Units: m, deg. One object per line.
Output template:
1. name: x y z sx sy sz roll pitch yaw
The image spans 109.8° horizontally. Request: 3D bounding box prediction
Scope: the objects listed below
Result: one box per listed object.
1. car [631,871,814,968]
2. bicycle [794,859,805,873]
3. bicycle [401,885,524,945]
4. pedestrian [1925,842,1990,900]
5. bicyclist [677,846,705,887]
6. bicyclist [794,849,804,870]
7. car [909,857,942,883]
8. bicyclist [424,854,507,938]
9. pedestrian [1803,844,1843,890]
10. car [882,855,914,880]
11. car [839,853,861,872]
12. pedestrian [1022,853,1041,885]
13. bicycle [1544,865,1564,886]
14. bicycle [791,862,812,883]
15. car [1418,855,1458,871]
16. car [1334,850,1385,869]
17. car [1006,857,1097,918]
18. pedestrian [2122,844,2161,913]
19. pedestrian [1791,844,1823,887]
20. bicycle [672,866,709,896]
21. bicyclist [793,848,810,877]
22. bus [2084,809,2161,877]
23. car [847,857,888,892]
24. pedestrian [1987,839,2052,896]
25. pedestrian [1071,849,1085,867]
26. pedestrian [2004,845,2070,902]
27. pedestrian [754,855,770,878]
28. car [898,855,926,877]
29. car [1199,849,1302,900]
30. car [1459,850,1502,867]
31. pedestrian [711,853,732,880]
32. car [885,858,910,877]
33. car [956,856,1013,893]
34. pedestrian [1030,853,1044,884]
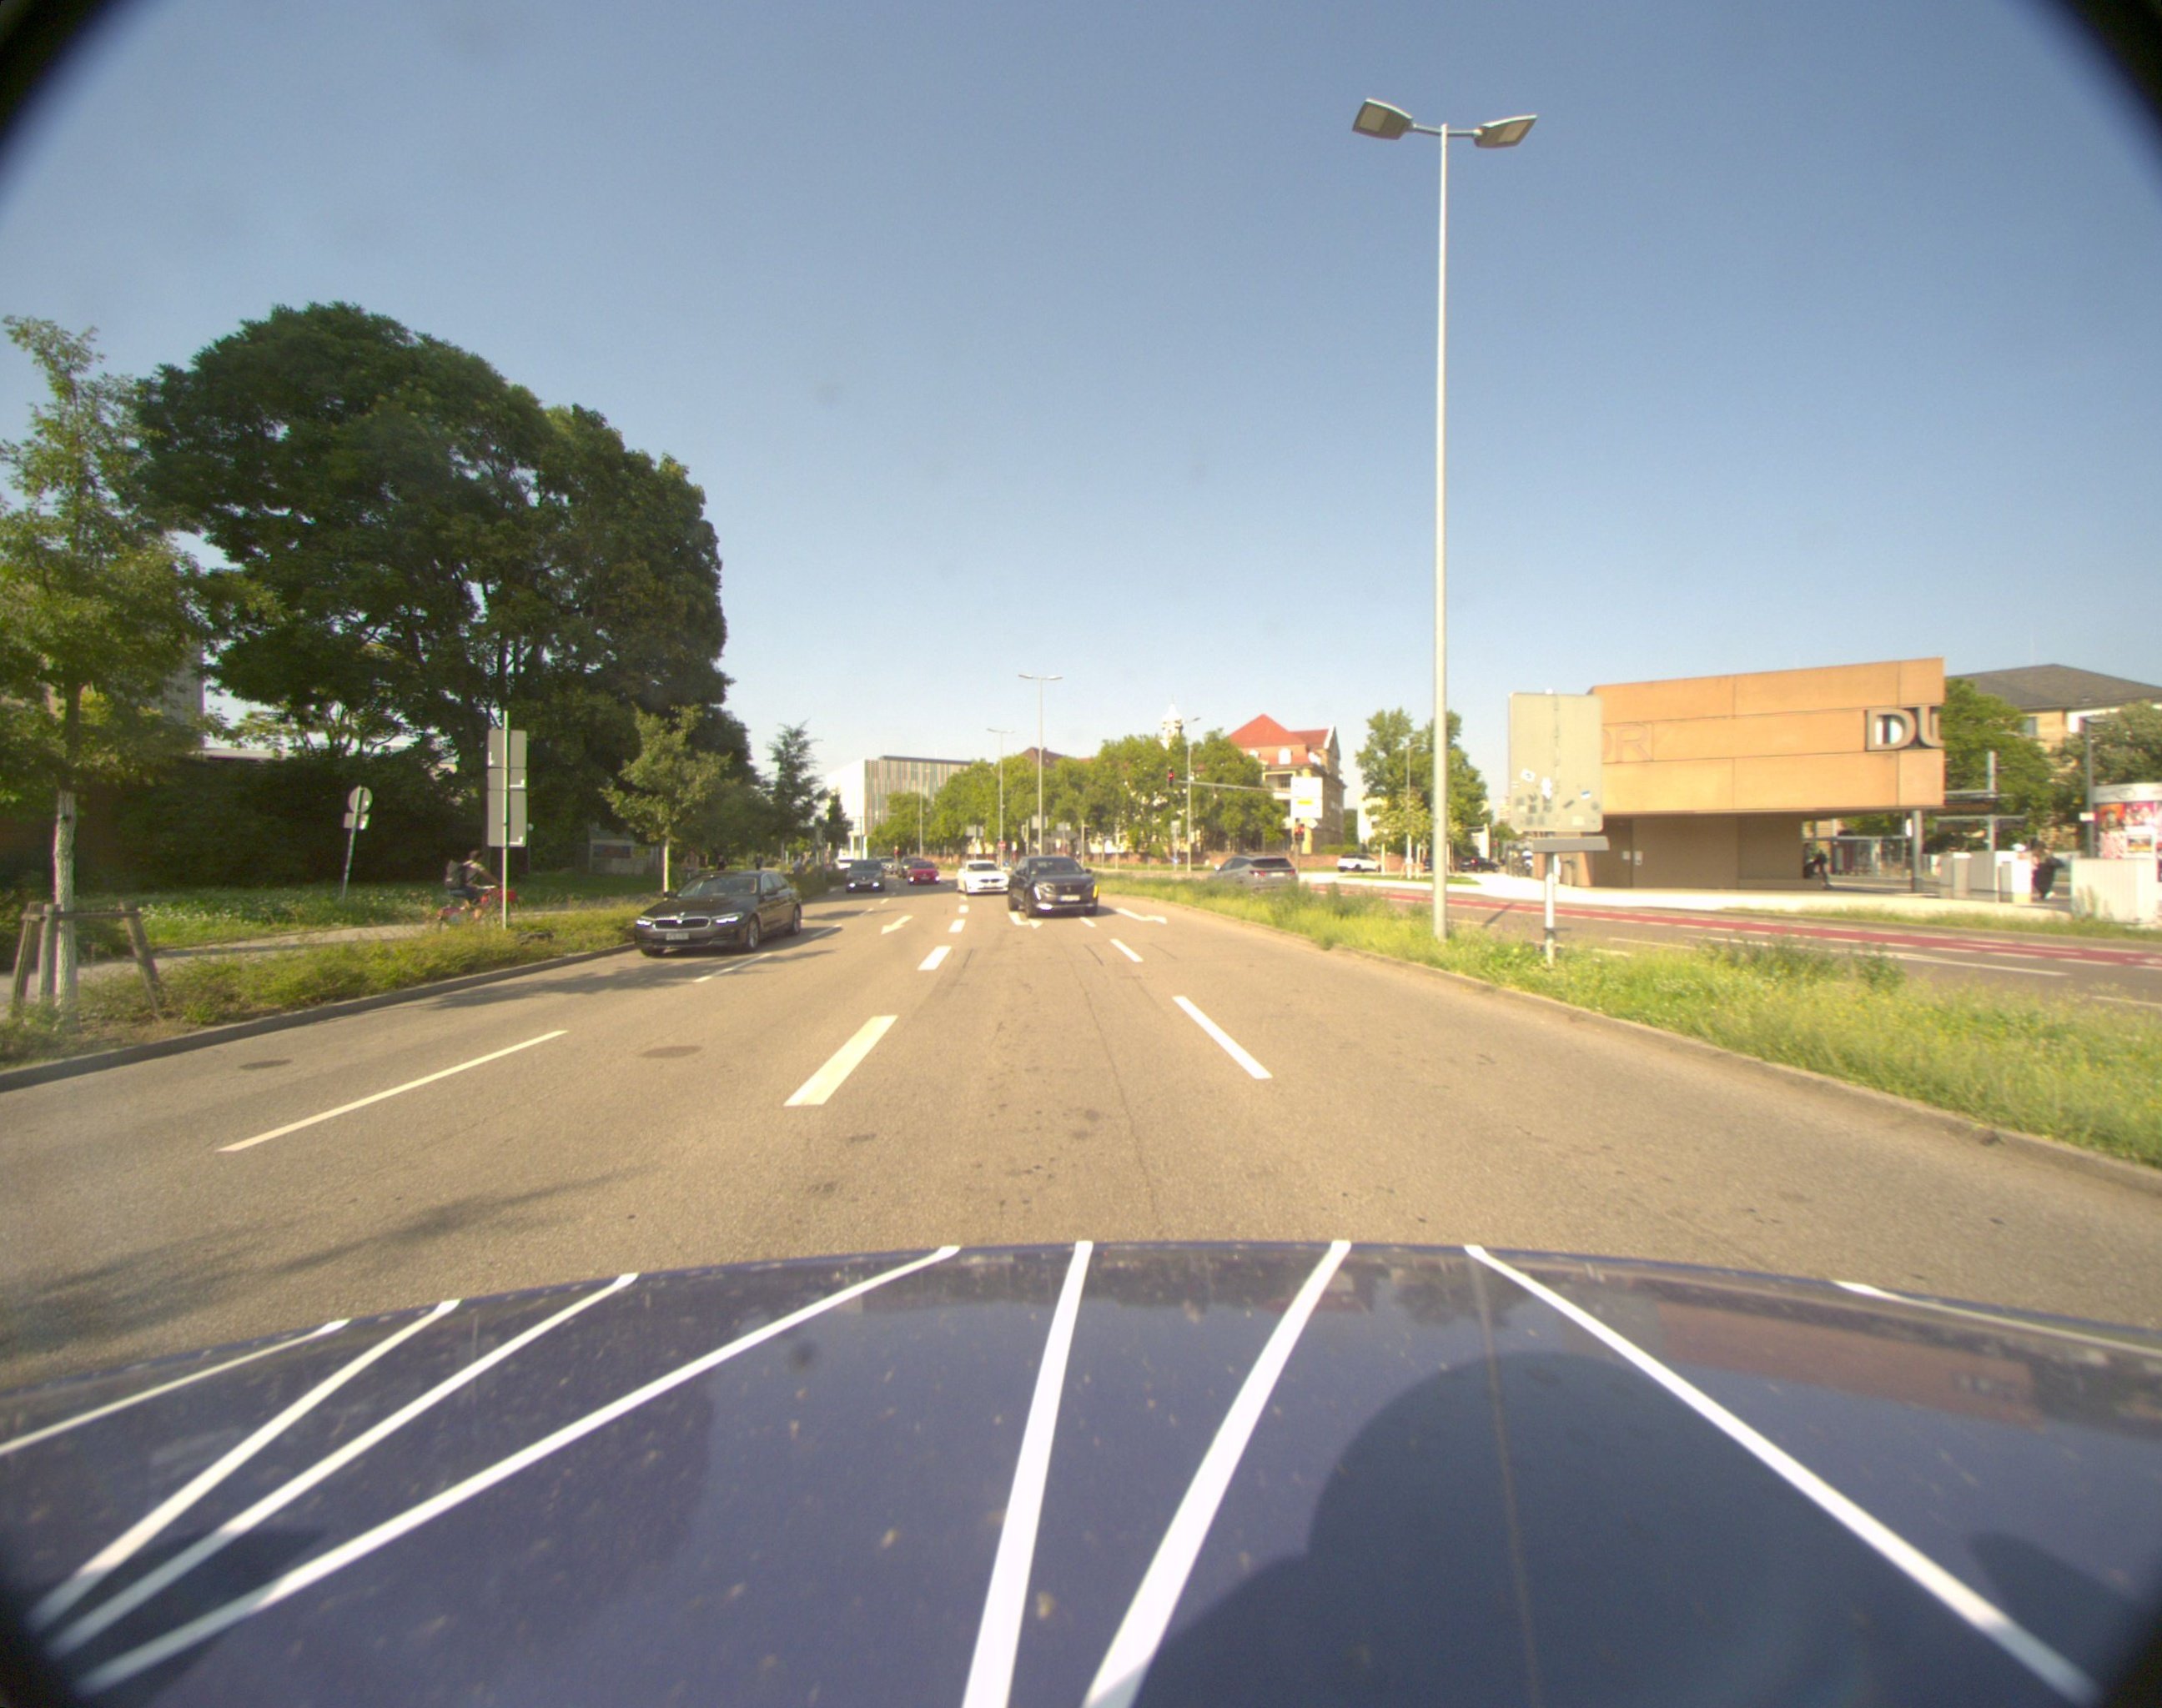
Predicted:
1. car: -6.721 1.127 14.856 1.687 1.483 4.671 0 0 -5
2. bicycle: -23.526 1.007 63.469 0.774 1.111 2.299 -1 0 -22
3. bicycle: -11.366 1.095 14.057 0.721 0.954 1.921 0 0 -2
4. pedestrian: 27.210 0.525 23.598 0.988 1.760 0.866 0 1 7
5. bicyclist: -15.687 0.492 30.590 0.774 1.584 0.923 -1 1 -14
6. bicyclist: -23.546 0.448 63.482 0.774 1.666 0.922 -1 1 -22
7. car: -9.538 0.943 46.363 1.689 1.483 4.366 0 0 -16
8. bicyclist: -11.367 0.751 14.064 0.721 1.504 1.004 0 1 -2
9. pedestrian: 27.773 0.481 28.447 0.864 1.695 0.733 0 1 22
10. car: -12.894 0.947 53.249 1.942 1.597 4.527 -1 -1 -16
11. car: -24.253 0.910 79.666 1.690 1.930 4.363 0 0 -23
12. pedestrian: -2.550 0.769 39.212 0.667 1.644 0.780 0 0 23
13. bicycle: 20.411 0.925 32.807 0.591 0.833 1.550 -3 -2 27
14. bicycle: -15.660 1.008 42.610 0.774 1.111 2.301 0 0 -13
15. car: 34.427 0.831 73.225 3.856 1.489 1.621 -1 1 -32
16. car: 24.733 0.491 67.411 4.380 1.624 1.995 0 0 -33
17. car: -0.923 0.831 21.025 1.689 1.483 4.367 0 0 -13
18. pedestrian: 28.279 0.643 20.019 0.699 1.790 0.781 0 1 23
19. pedestrian: 29.713 0.448 31.108 0.717 1.727 0.858 0 1 24
20. bicycle: -15.680 1.068 30.576 0.774 1.111 2.301 -1 0 -14
21. bicyclist: -15.658 0.474 42.602 0.774 1.583 0.923 0 0 -13
22. bus: 47.712 -0.457 30.665 3.291 2.960 12.820 0 0 26
23. car: -10.719 0.969 38.004 1.785 1.596 4.414 0 0 -18
24. pedestrian: 27.915 0.388 22.608 0.990 1.663 0.865 0 1 -15
25. pedestrian: -0.346 0.459 84.292 1.080 2.002 1.316 -1 1 -22
26. pedestrian: 27.008 0.530 21.492 0.863 1.550 0.992 0 1 33
27. pedestrian: -24.360 0.963 58.123 0.961 1.772 1.001 2 0 -16
28. car: -13.605 0.957 61.062 1.785 1.682 4.526 0 0 -18
29. car: 5.765 0.652 26.451 1.700 1.608 4.456 0 0 -14
30. car: 40.053 0.460 76.157 4.380 1.623 1.995 0 0 -33
31. pedestrian: -19.043 0.654 40.274 0.727 1.435 0.857 0 1 -5
32. car: -18.028 1.362 74.665 1.785 1.710 4.526 -3 0 -21
33. car: -4.293 0.819 33.193 1.785 1.474 4.526 0 0 -16
34. pedestrian: -2.424 0.775 41.586 0.669 1.689 0.691 0 0 -13
